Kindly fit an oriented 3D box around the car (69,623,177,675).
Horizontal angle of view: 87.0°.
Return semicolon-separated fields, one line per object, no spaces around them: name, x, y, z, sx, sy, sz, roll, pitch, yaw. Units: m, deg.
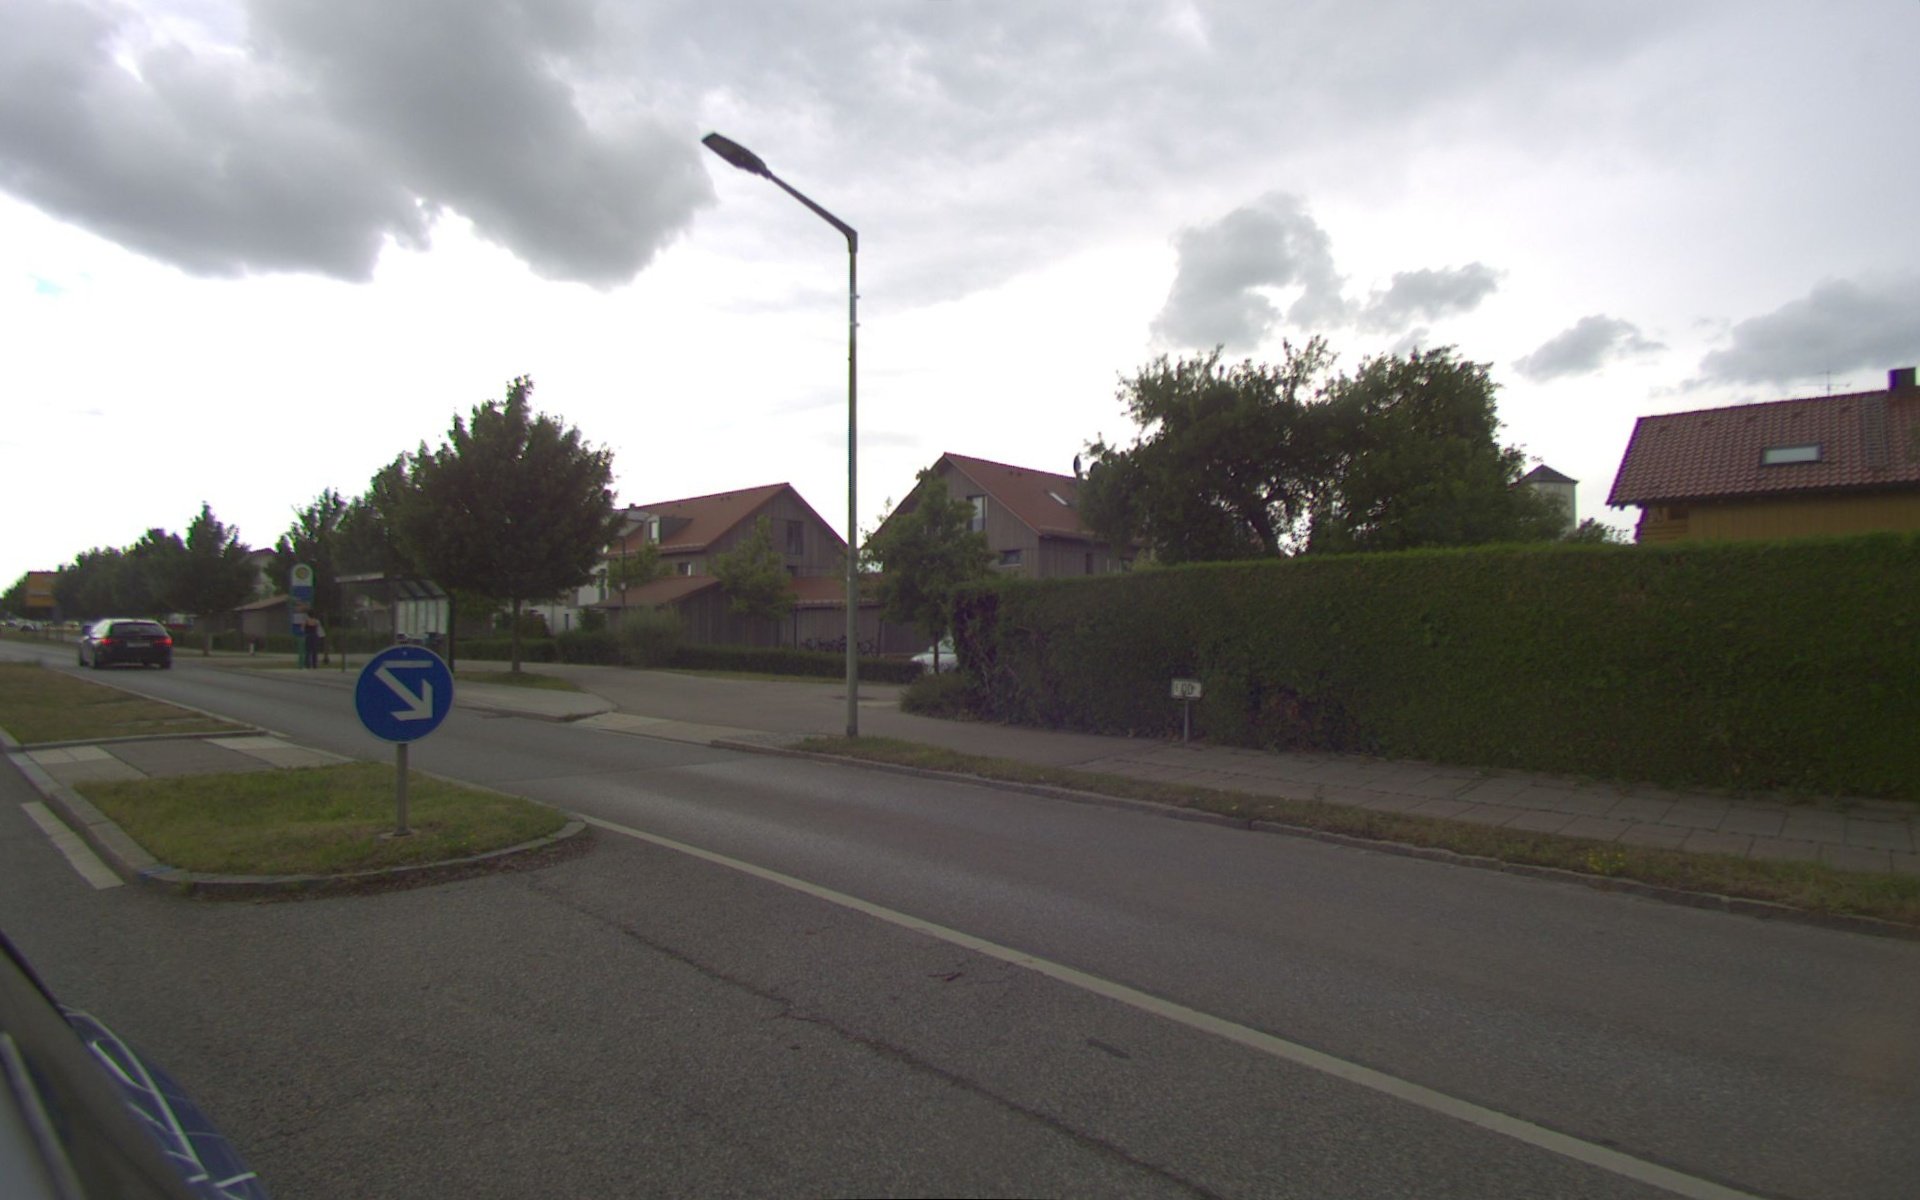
car;-25.553;1.461;30.843;4.495;1.465;1.899;-2;-3;43

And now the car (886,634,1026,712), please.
car;-0.061;2.018;29.062;1.998;2.029;3.947;-1;-2;39

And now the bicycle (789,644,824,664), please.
bicycle;-7.506;2.630;49.584;0.419;0.916;1.922;-1;-2;40

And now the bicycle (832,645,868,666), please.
bicycle;-5.152;2.591;47.580;0.419;0.916;1.922;-1;-2;40

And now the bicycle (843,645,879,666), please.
bicycle;-4.575;2.586;47.041;0.419;0.916;1.922;-1;-2;40

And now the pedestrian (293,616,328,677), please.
pedestrian;-17.956;1.268;27.972;0.812;1.649;0.582;-2;-2;41

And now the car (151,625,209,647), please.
car;-79.659;3.655;103.397;4.505;2.029;2.002;-1;0;-44

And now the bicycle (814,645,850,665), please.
bicycle;-6.120;2.606;48.434;0.419;0.916;1.922;-1;-2;40
